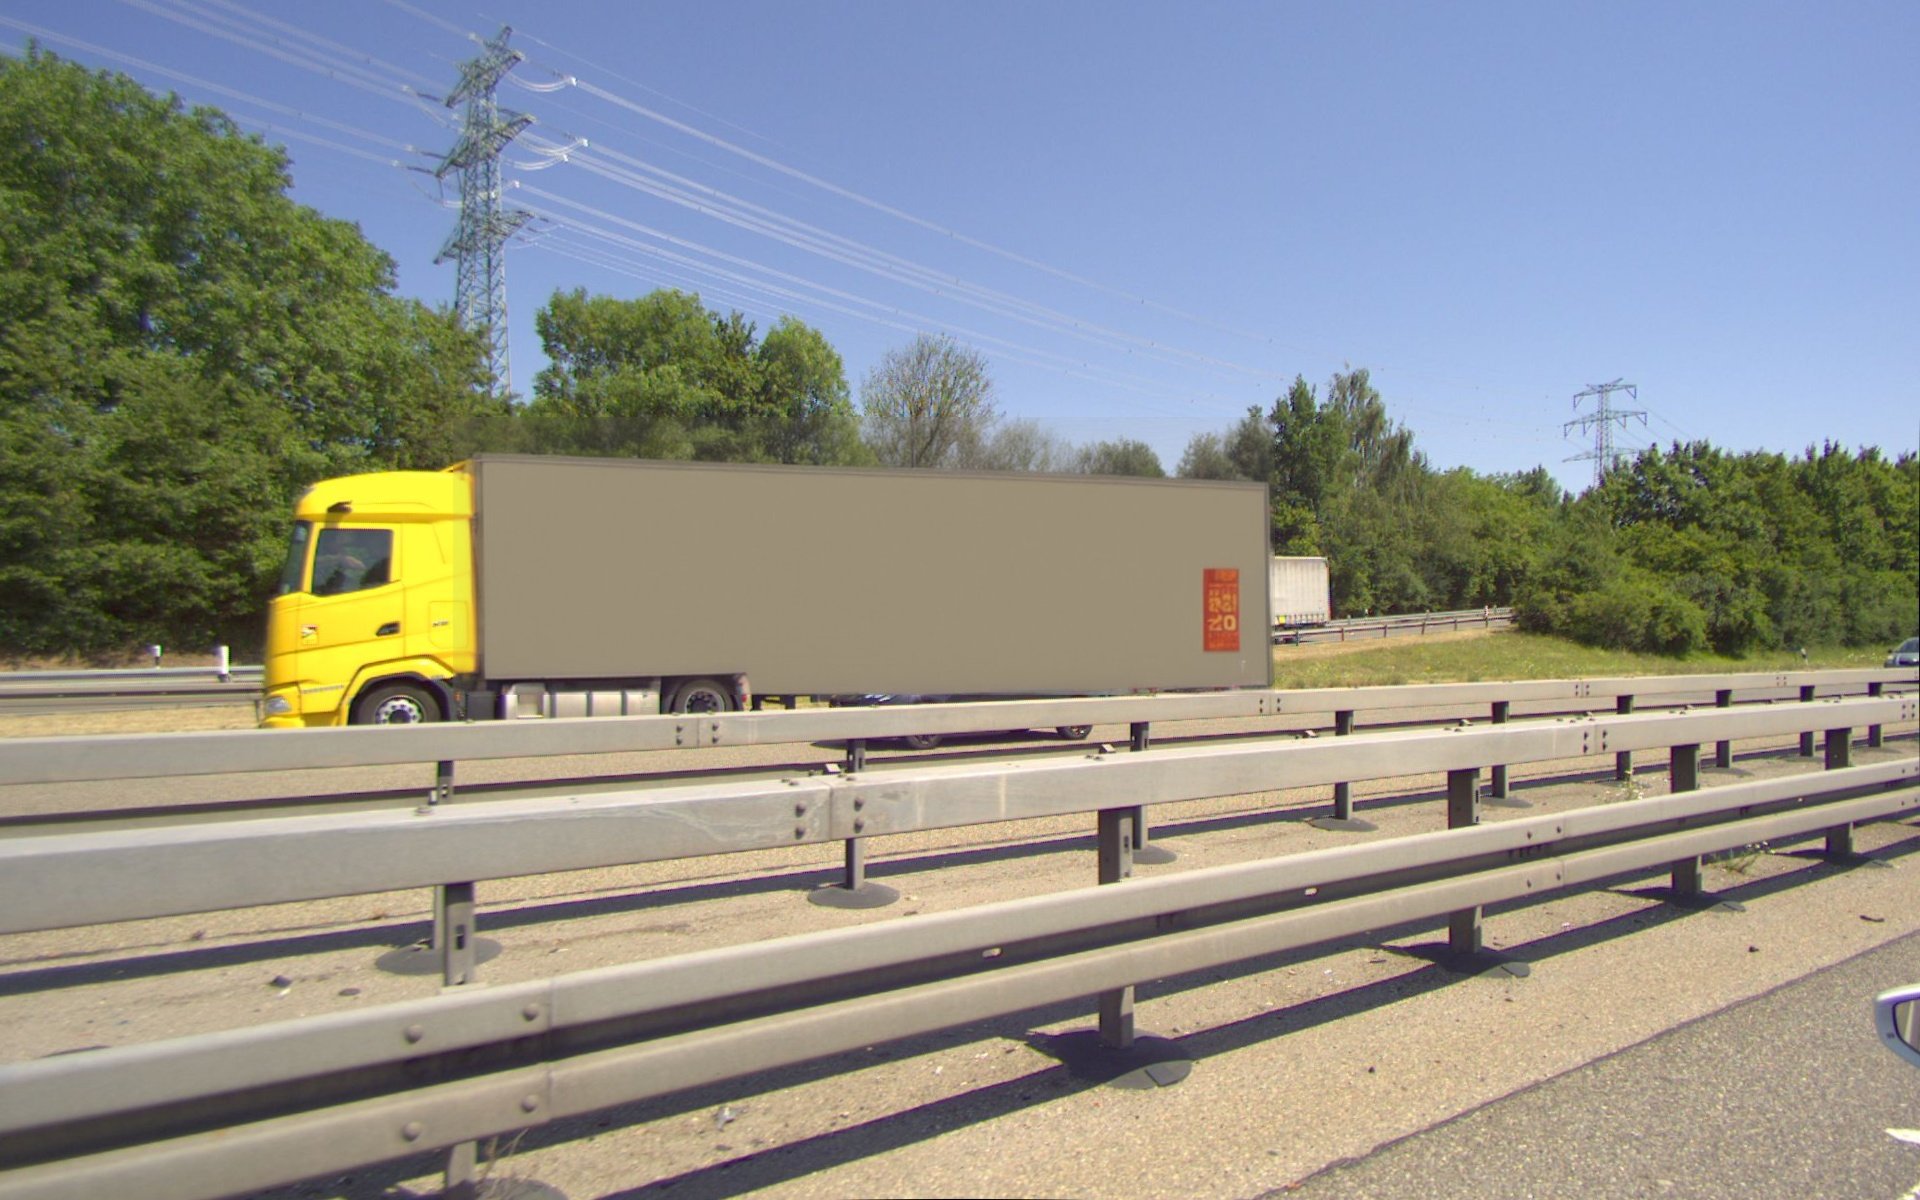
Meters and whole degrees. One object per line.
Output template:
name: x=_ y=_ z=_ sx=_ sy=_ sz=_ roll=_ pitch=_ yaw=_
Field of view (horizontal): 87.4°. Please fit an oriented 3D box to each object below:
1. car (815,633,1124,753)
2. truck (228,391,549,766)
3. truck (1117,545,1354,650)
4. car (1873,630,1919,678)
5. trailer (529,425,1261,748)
car: x=0.164 y=1.228 z=14.268 sx=4.095 sy=1.488 sz=1.705 roll=1 pitch=-3 yaw=-29
truck: x=-7.852 y=-0.201 z=14.040 sx=3.473 sy=4.398 sz=3.159 roll=1 pitch=-1 yaw=-31
truck: x=13.515 y=-0.234 z=47.813 sx=14.419 sy=4.399 sz=2.972 roll=-2 pitch=0 yaw=-39
car: x=32.497 y=1.791 z=33.645 sx=3.839 sy=1.550 sz=1.773 roll=1 pitch=-4 yaw=-31
trailer: x=-0.391 y=-0.052 z=18.584 sx=13.654 sy=4.398 sz=3.159 roll=1 pitch=-1 yaw=-31
